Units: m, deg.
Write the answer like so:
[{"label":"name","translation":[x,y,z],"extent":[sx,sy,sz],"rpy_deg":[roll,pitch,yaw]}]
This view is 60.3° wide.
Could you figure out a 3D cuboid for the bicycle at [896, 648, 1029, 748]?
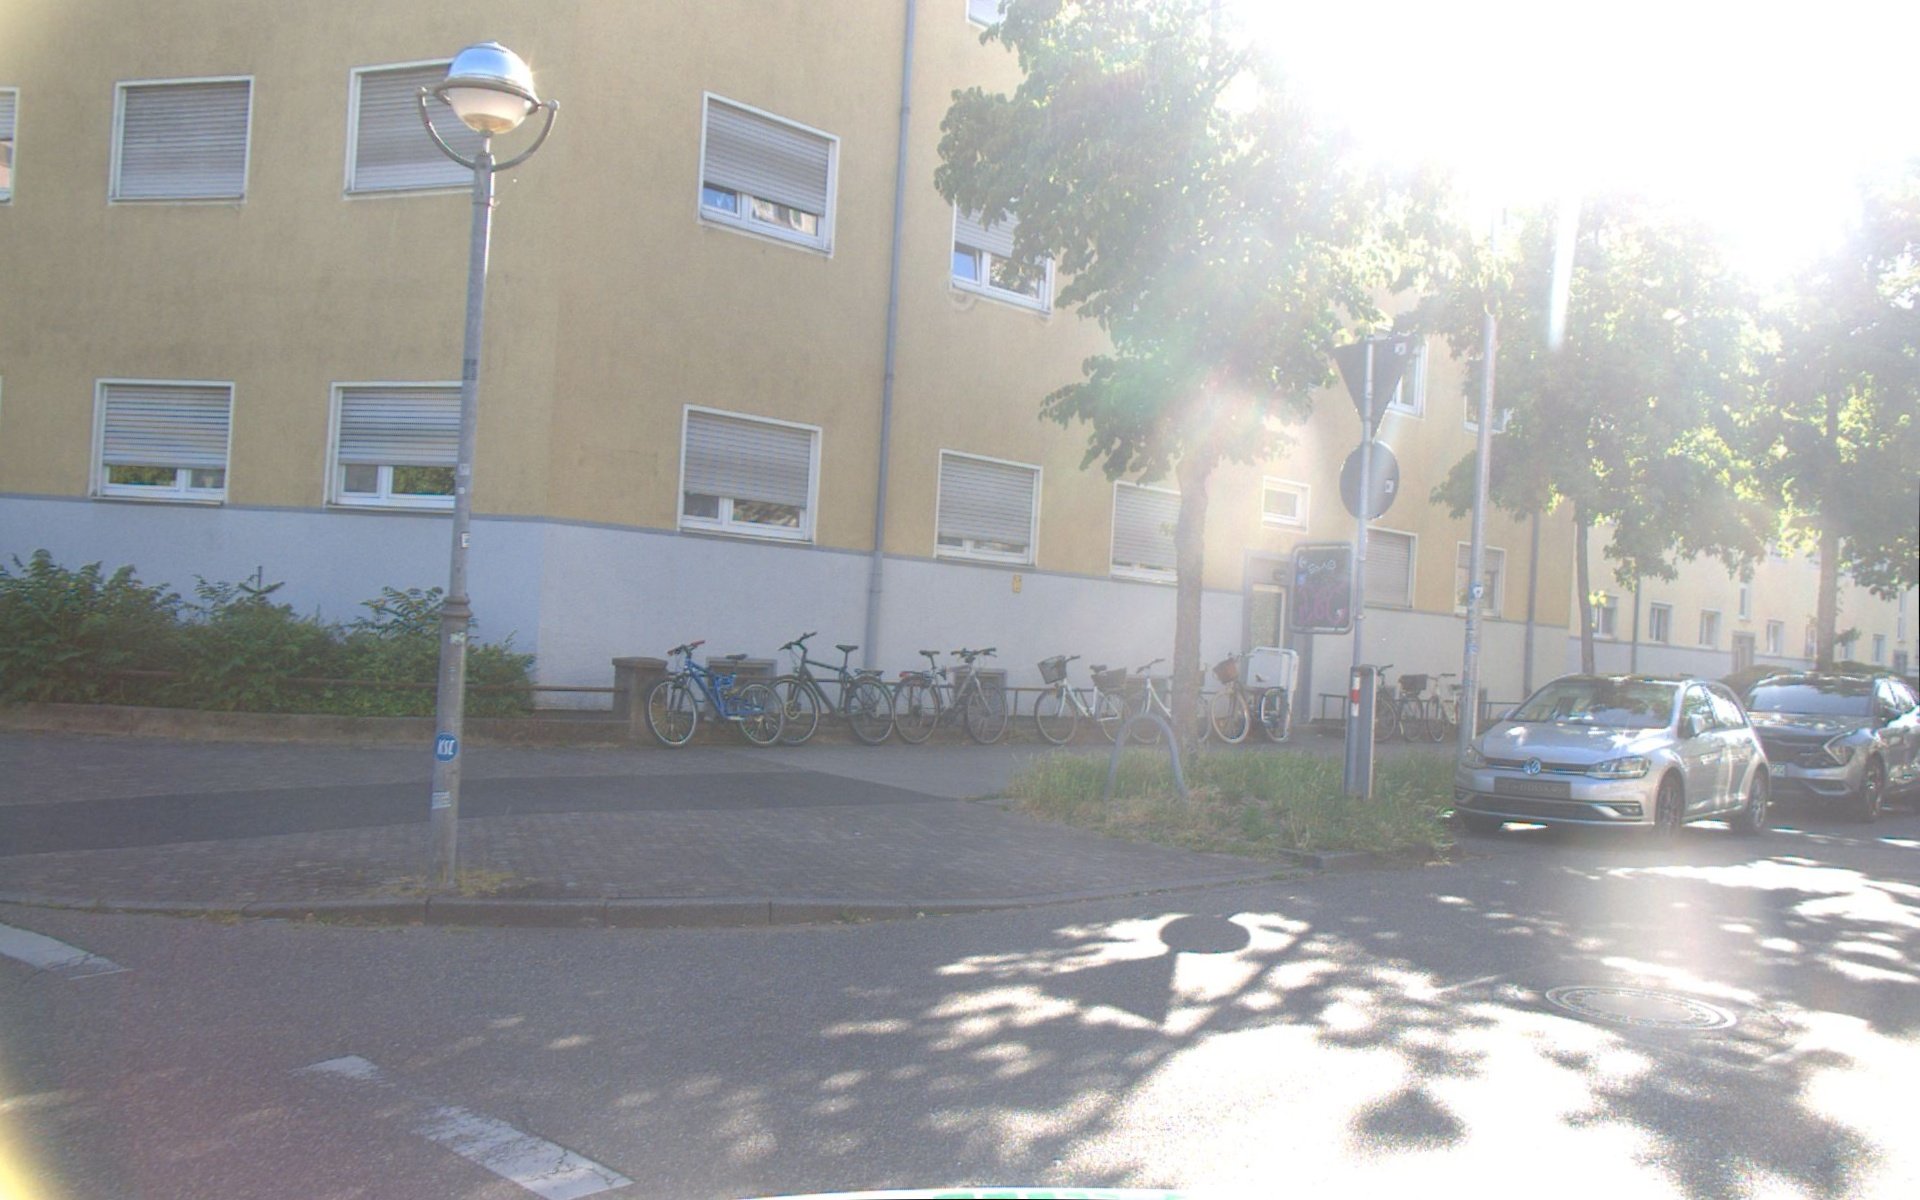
[{"label":"bicycle","translation":[0.040,1.056,17.791],"extent":[0.447,1.018,1.534],"rpy_deg":[2,-2,44]}]

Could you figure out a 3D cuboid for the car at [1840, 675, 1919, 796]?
[{"label":"car","translation":[13.553,1.874,22.813],"extent":[1.642,1.512,3.233],"rpy_deg":[2,-1,44]}]

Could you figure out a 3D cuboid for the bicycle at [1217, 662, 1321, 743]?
[{"label":"bicycle","translation":[4.134,1.373,22.060],"extent":[1.532,1.018,0.508],"rpy_deg":[4,-2,-43]}]

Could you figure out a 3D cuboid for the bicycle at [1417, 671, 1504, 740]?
[{"label":"bicycle","translation":[8.032,1.697,26.498],"extent":[1.735,1.044,0.529],"rpy_deg":[4,-2,-45]}]

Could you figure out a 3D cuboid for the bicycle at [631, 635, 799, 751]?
[{"label":"bicycle","translation":[-2.268,0.871,15.437],"extent":[0.469,1.018,1.533],"rpy_deg":[2,-2,44]}]

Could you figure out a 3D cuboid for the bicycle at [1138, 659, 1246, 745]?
[{"label":"bicycle","translation":[2.949,1.294,20.907],"extent":[0.504,1.018,1.534],"rpy_deg":[2,-2,44]}]

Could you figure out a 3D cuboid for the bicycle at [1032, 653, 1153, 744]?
[{"label":"bicycle","translation":[1.588,1.169,19.631],"extent":[0.428,1.018,1.669],"rpy_deg":[2,-2,44]}]

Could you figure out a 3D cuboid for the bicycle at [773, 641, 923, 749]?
[{"label":"bicycle","translation":[-1.107,0.953,16.579],"extent":[0.468,1.018,1.533],"rpy_deg":[2,-2,44]}]

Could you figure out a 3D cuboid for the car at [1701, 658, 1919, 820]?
[{"label":"car","translation":[10.429,1.586,19.513],"extent":[1.667,1.592,4.705],"rpy_deg":[2,-1,42]}]

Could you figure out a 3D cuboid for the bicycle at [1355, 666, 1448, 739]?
[{"label":"bicycle","translation":[6.716,1.560,25.107],"extent":[1.735,1.044,0.533],"rpy_deg":[4,-2,-45]}]

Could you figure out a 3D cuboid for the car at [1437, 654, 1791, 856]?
[{"label":"car","translation":[6.005,1.323,14.931],"extent":[1.734,1.467,3.971],"rpy_deg":[2,-1,41]}]
